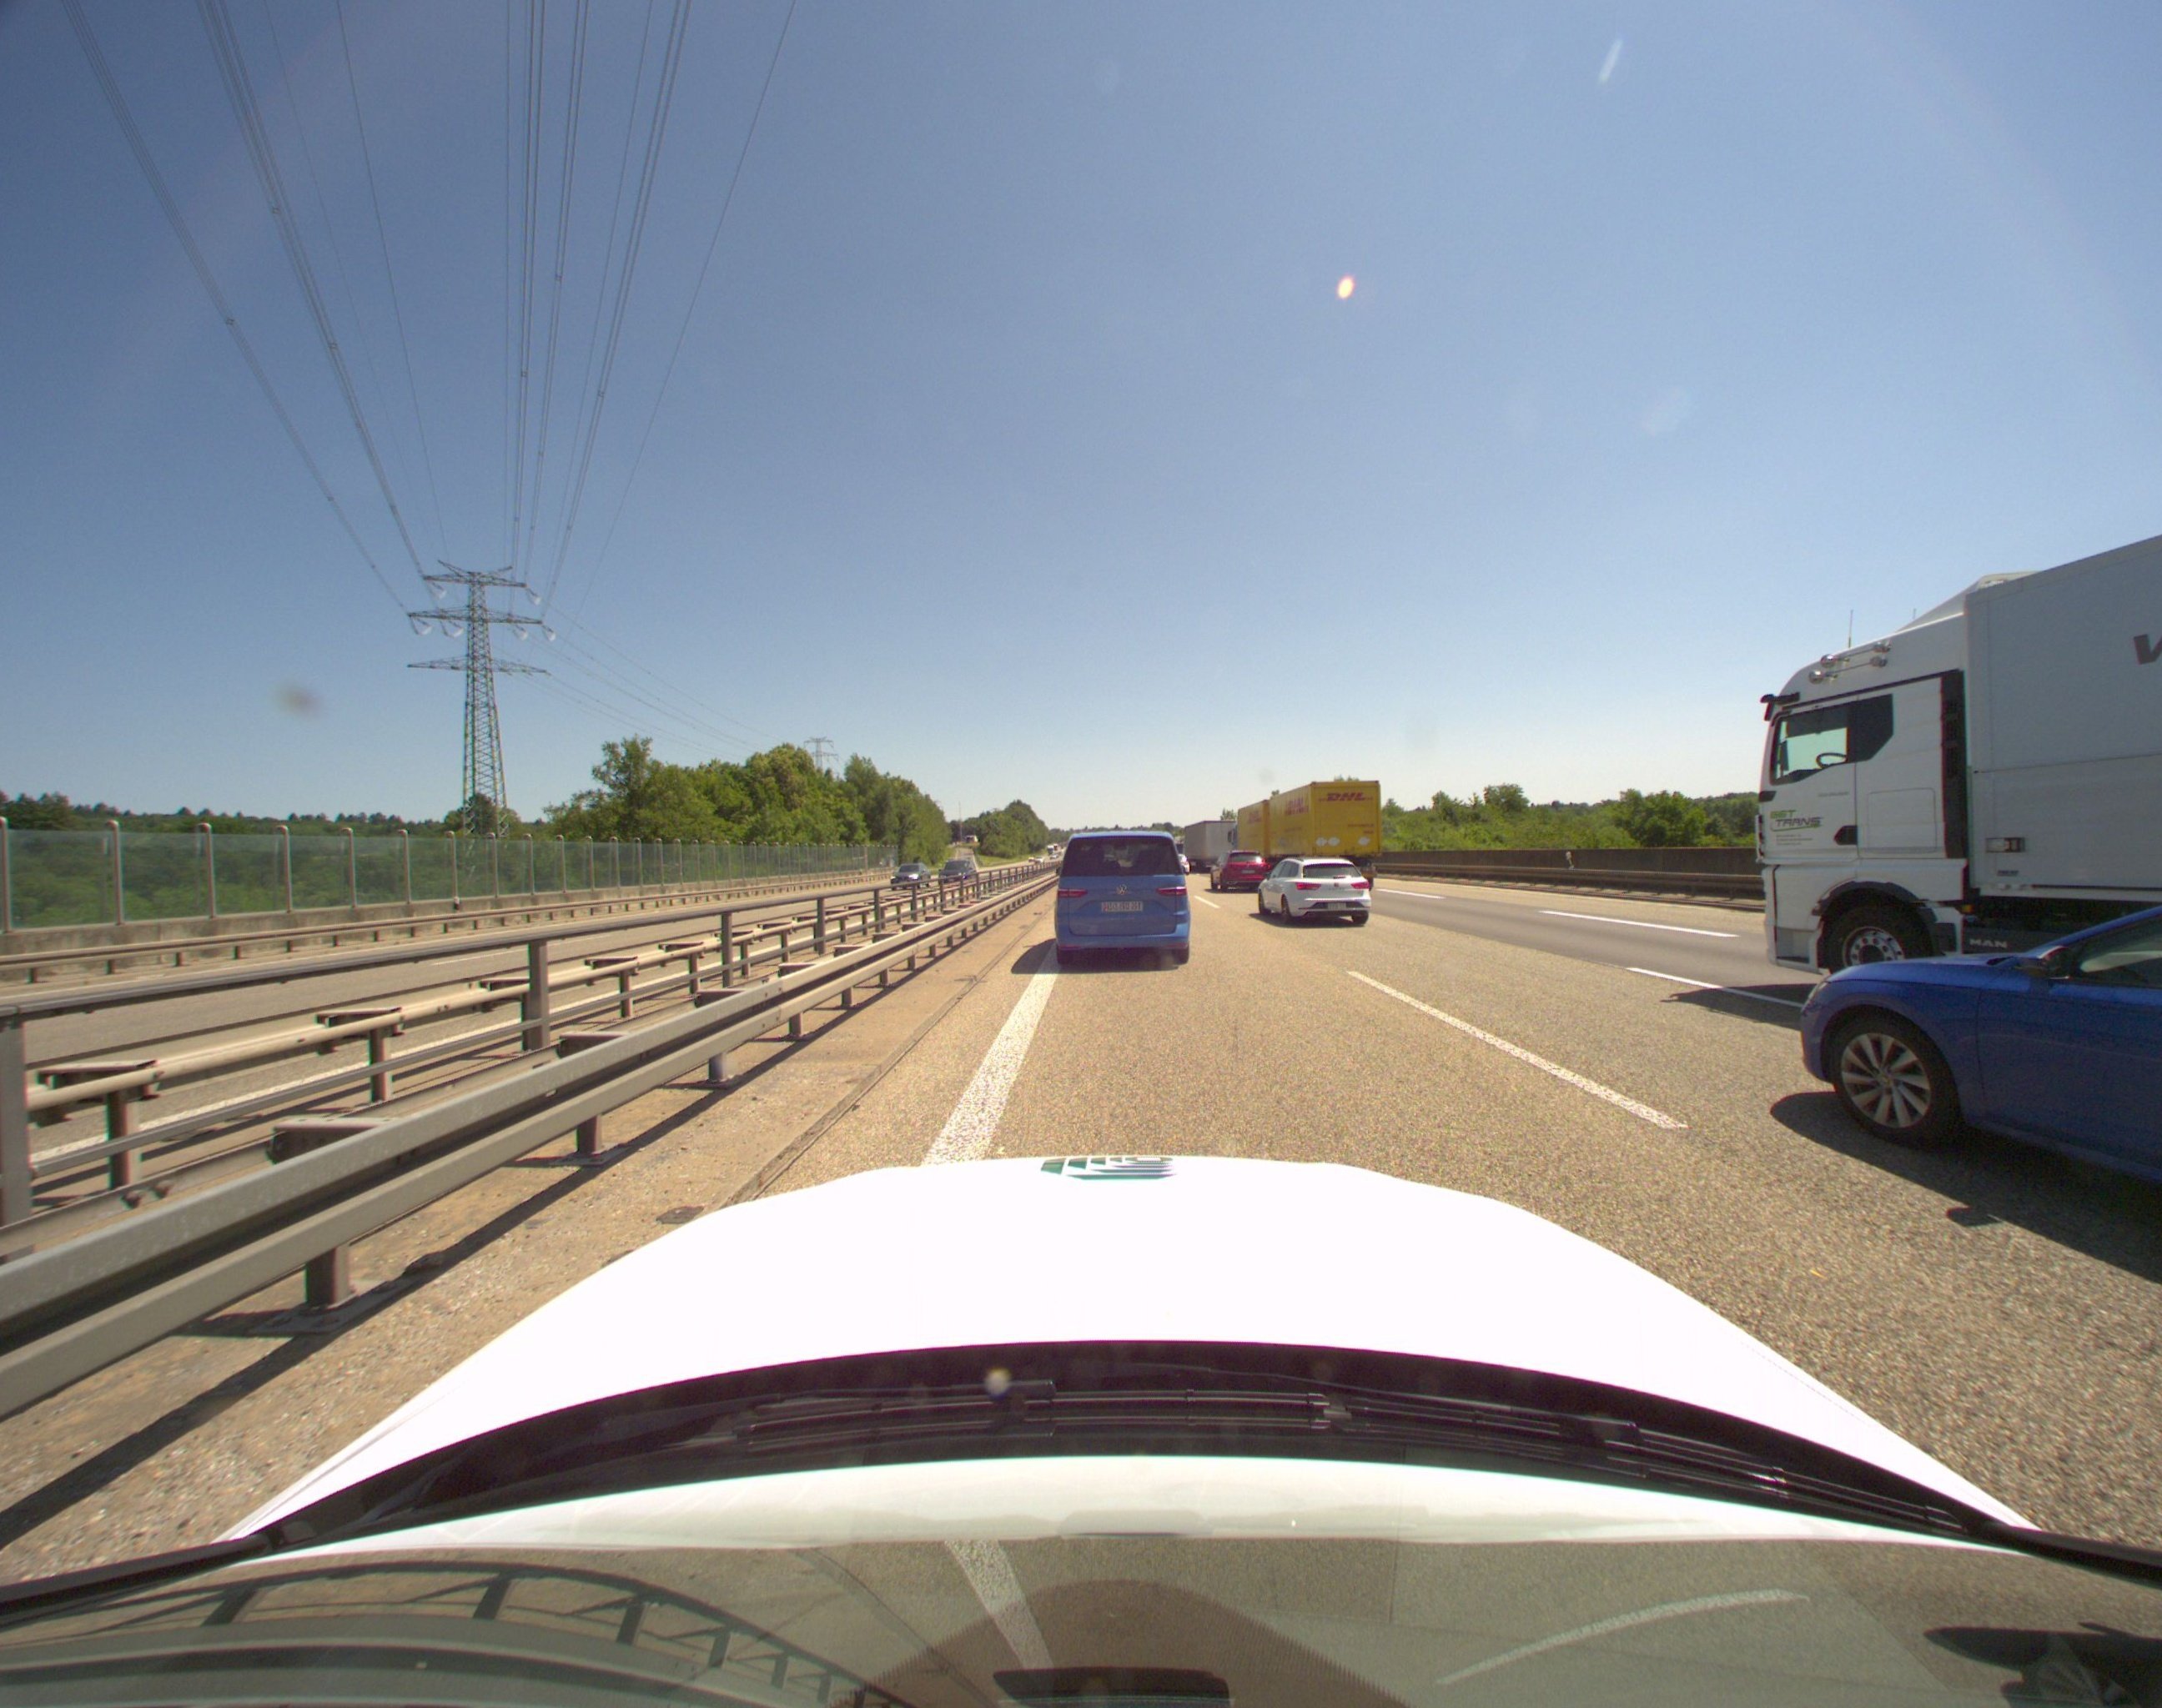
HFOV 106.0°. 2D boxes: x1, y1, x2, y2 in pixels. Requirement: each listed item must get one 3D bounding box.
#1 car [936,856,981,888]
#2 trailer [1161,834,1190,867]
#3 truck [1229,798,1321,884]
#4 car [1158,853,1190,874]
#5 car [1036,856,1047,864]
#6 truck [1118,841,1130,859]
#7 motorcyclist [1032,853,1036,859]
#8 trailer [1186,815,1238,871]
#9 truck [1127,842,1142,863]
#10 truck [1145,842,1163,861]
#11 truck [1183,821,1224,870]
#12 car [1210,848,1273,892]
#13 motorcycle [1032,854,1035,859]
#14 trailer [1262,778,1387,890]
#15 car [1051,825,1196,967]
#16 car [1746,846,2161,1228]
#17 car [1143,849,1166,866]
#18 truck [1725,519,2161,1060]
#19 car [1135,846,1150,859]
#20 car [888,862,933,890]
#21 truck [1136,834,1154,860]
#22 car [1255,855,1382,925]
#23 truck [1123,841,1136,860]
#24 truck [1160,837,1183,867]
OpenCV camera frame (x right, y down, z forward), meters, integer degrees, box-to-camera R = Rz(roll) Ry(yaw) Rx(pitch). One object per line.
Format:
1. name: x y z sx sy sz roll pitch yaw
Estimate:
1. car: -7.005 0.995 46.959 1.748 1.721 4.102 -3 0 2
2. trailer: 11.299 -0.294 98.337 2.371 3.744 11.190 0 -1 1
3. truck: 10.029 -0.546 43.343 2.712 4.055 10.339 0 -1 2
4. car: 6.625 0.659 58.251 1.832 1.414 4.000 -1 0 0
5. car: -7.979 1.215 163.878 1.903 1.394 4.166 -3 -1 2
6. truck: 12.931 -1.087 246.140 2.824 5.373 12.554 0 -1 0
7. motorcyclist: -12.596 0.506 216.258 0.895 1.441 1.083 -2 1 1
8. trailer: 10.459 -0.711 66.032 2.744 4.146 11.315 0 -1 2
9. truck: 12.914 -0.268 197.964 2.824 5.040 11.815 0 -1 0
10. truck: 13.105 -0.349 146.652 2.347 3.218 9.740 0 -1 0
11. truck: 10.609 -0.638 71.278 2.758 4.095 6.986 0 -1 2
12. car: 6.335 0.602 32.590 1.844 1.608 4.002 -1 0 2
13. motorcycle: -12.567 0.693 216.371 0.699 1.070 2.306 -2 1 2
14. trailer: 9.729 -0.656 33.684 2.691 4.023 8.933 0 -1 2
15. car: 0.621 0.565 12.725 1.875 1.837 4.002 -1 0 2
16. car: 4.930 0.684 2.797 1.703 1.440 4.502 -1 0 2
17. car: 7.009 0.354 78.088 1.711 1.587 3.818 -2 -1 -2
18. truck: 8.594 -0.453 3.798 2.840 3.603 10.770 0 -1 1
19. car: 7.643 -0.138 101.330 1.709 1.540 3.822 -3 0 2
20. car: -10.529 1.332 50.653 1.748 1.547 4.001 -4 -1 2
21. truck: 12.798 -1.337 163.804 2.824 5.040 11.145 0 -1 0
22. car: 5.222 0.739 18.497 1.774 1.387 4.190 -1 0 2
23. truck: 13.388 -0.988 226.053 2.824 4.886 13.220 -3 0 0
24. truck: 11.463 -0.202 103.857 2.359 3.722 6.034 0 -1 1
